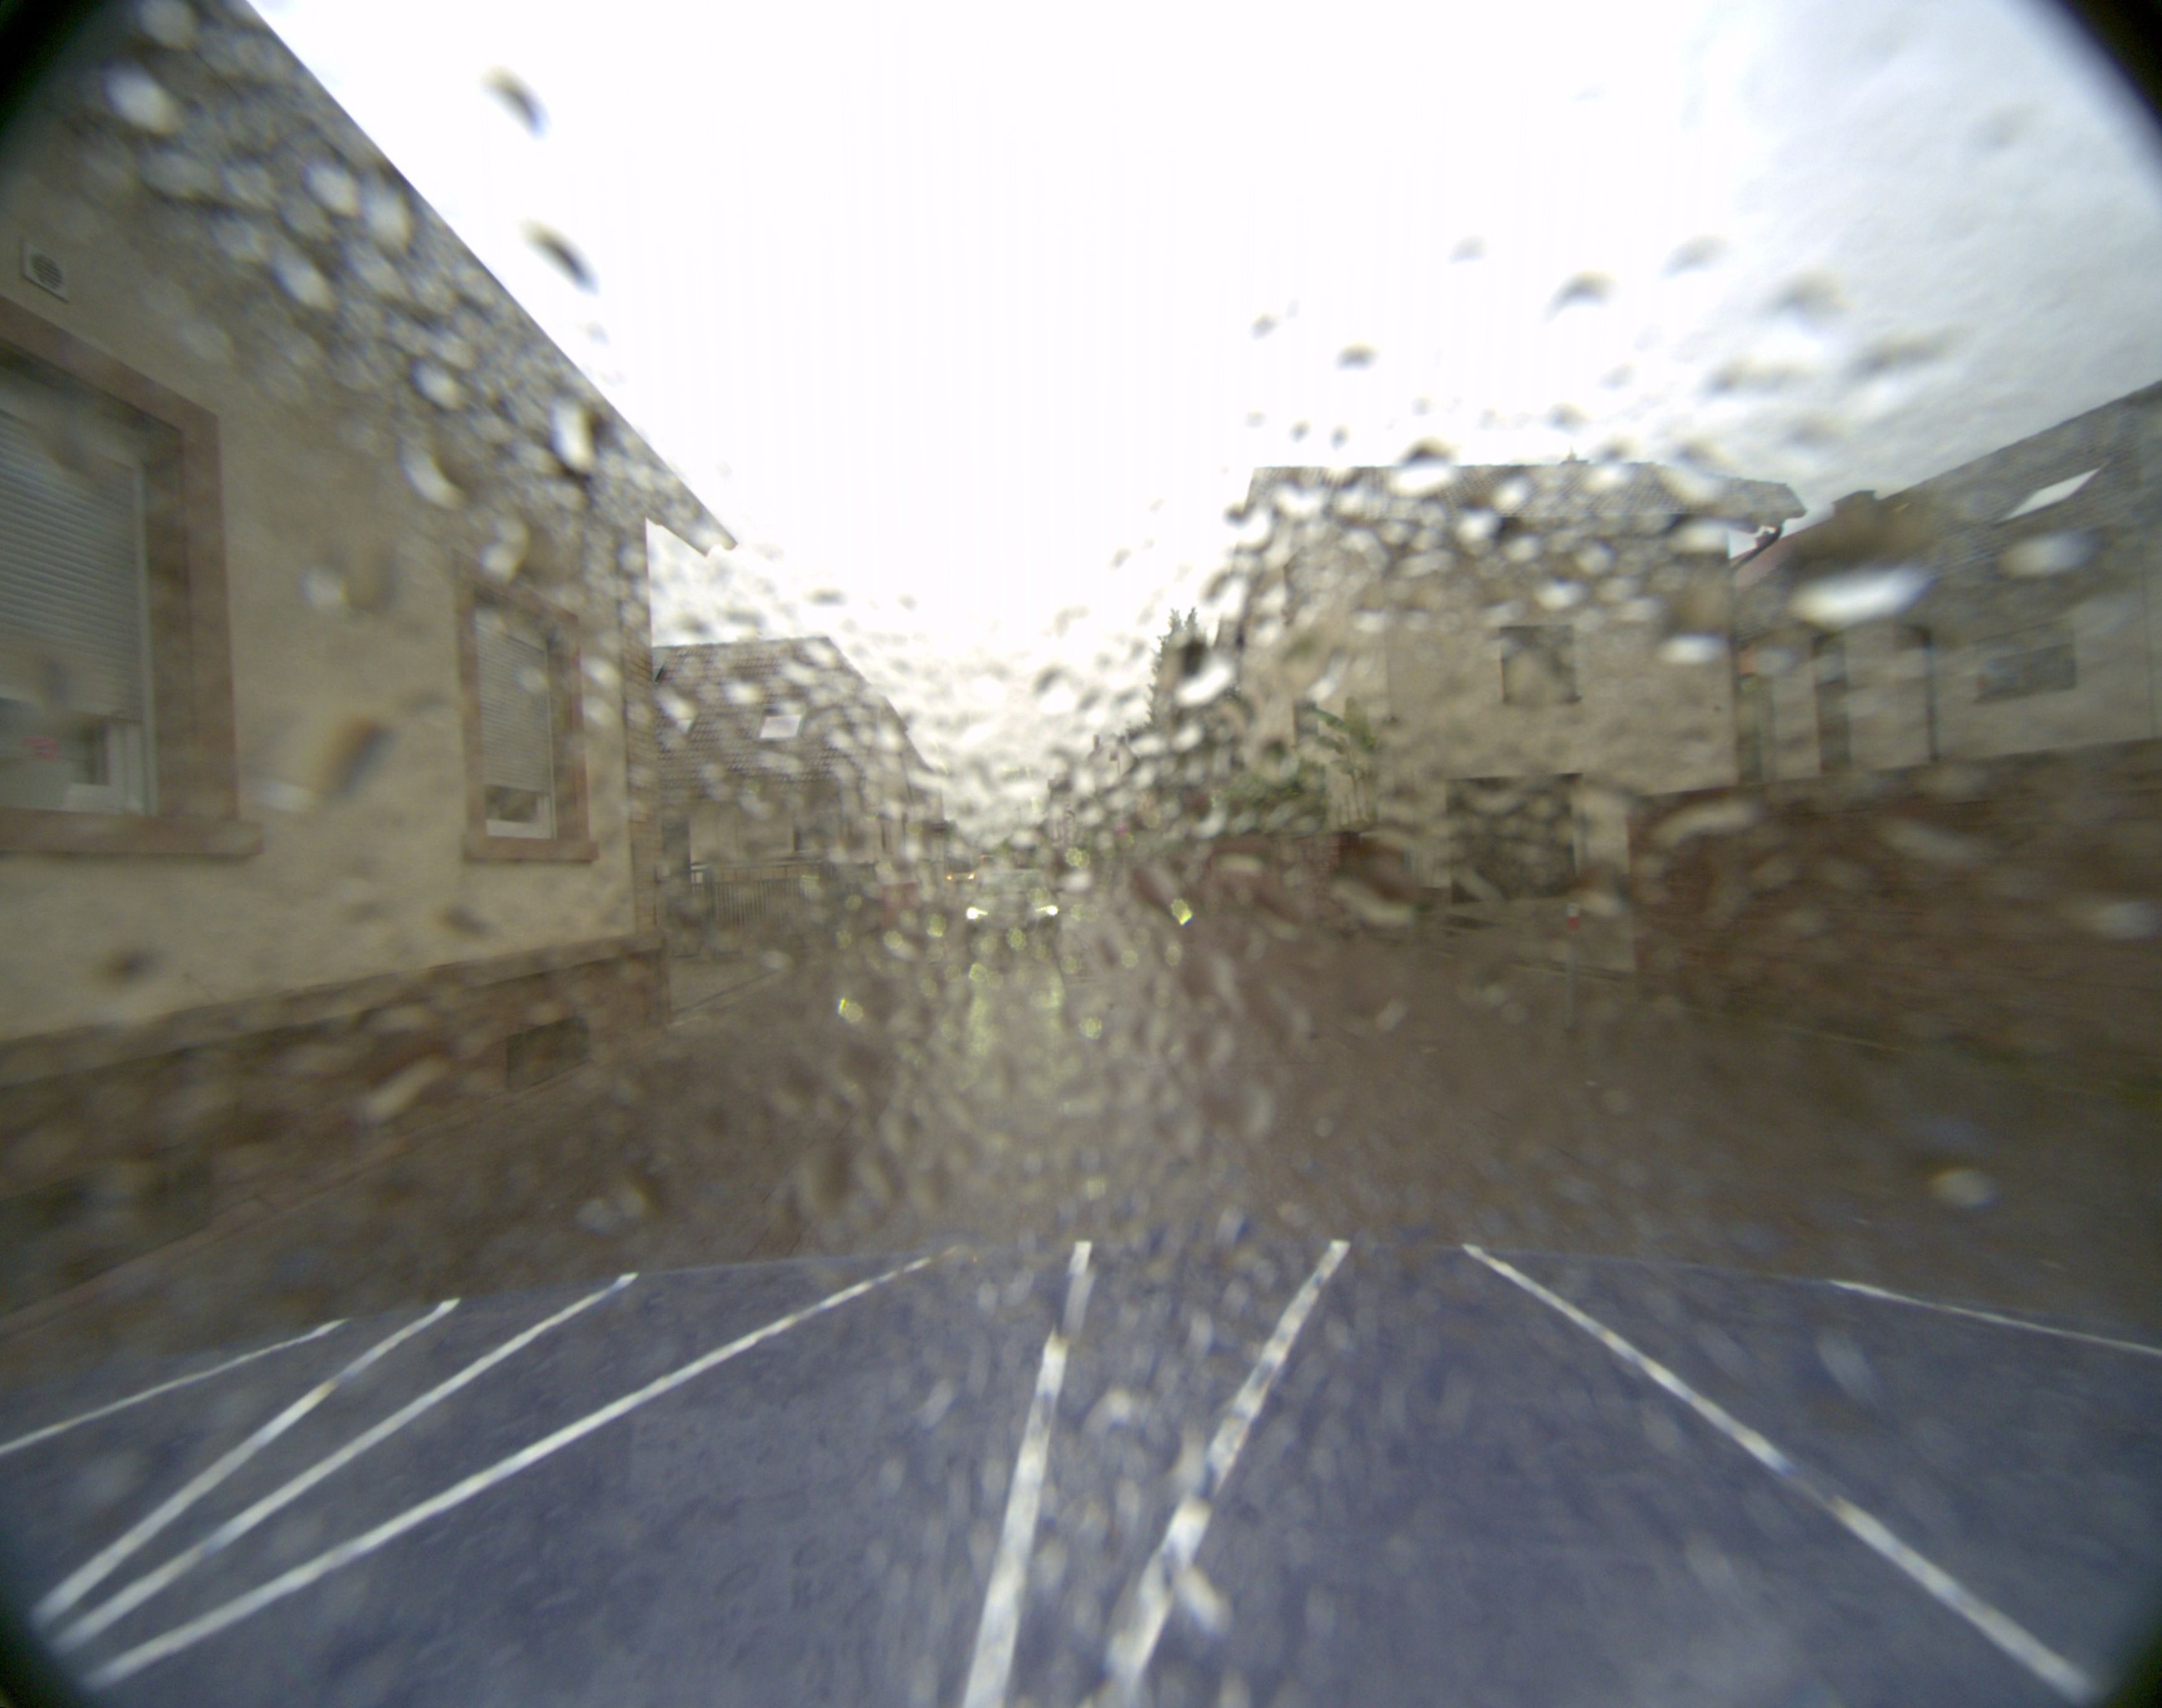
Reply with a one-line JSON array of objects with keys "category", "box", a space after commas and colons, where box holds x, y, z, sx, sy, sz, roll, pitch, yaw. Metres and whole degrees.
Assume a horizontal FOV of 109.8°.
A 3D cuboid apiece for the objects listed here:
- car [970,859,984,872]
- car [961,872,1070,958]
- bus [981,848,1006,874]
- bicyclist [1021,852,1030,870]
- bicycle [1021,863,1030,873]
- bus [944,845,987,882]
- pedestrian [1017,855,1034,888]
[{"category": "car", "box": [-18.119, 2.033, 132.493, 2.000, 2.002, 4.240, -5, 1, -11]}, {"category": "car", "box": [-1.460, 1.106, 15.355, 1.781, 1.348, 4.185, -3, 0, -10]}, {"category": "bus", "box": [-11.329, 0.928, 98.623, 2.815, 2.922, 11.935, -5, 0, -6]}, {"category": "bicyclist", "box": [-5.941, 0.749, 81.201, 0.659, 1.759, 0.703, -5, -1, -12]}, {"category": "bicycle", "box": [-5.896, 1.497, 81.251, 0.663, 0.865, 1.933, -5, -2, -12]}, {"category": "bus", "box": [-12.273, 0.985, 79.777, 3.444, 3.391, 13.857, -4, 0, -12]}, {"category": "pedestrian", "box": [-2.938, 0.921, 40.126, 0.696, 1.722, 0.820, -3, 0, -10]}]
